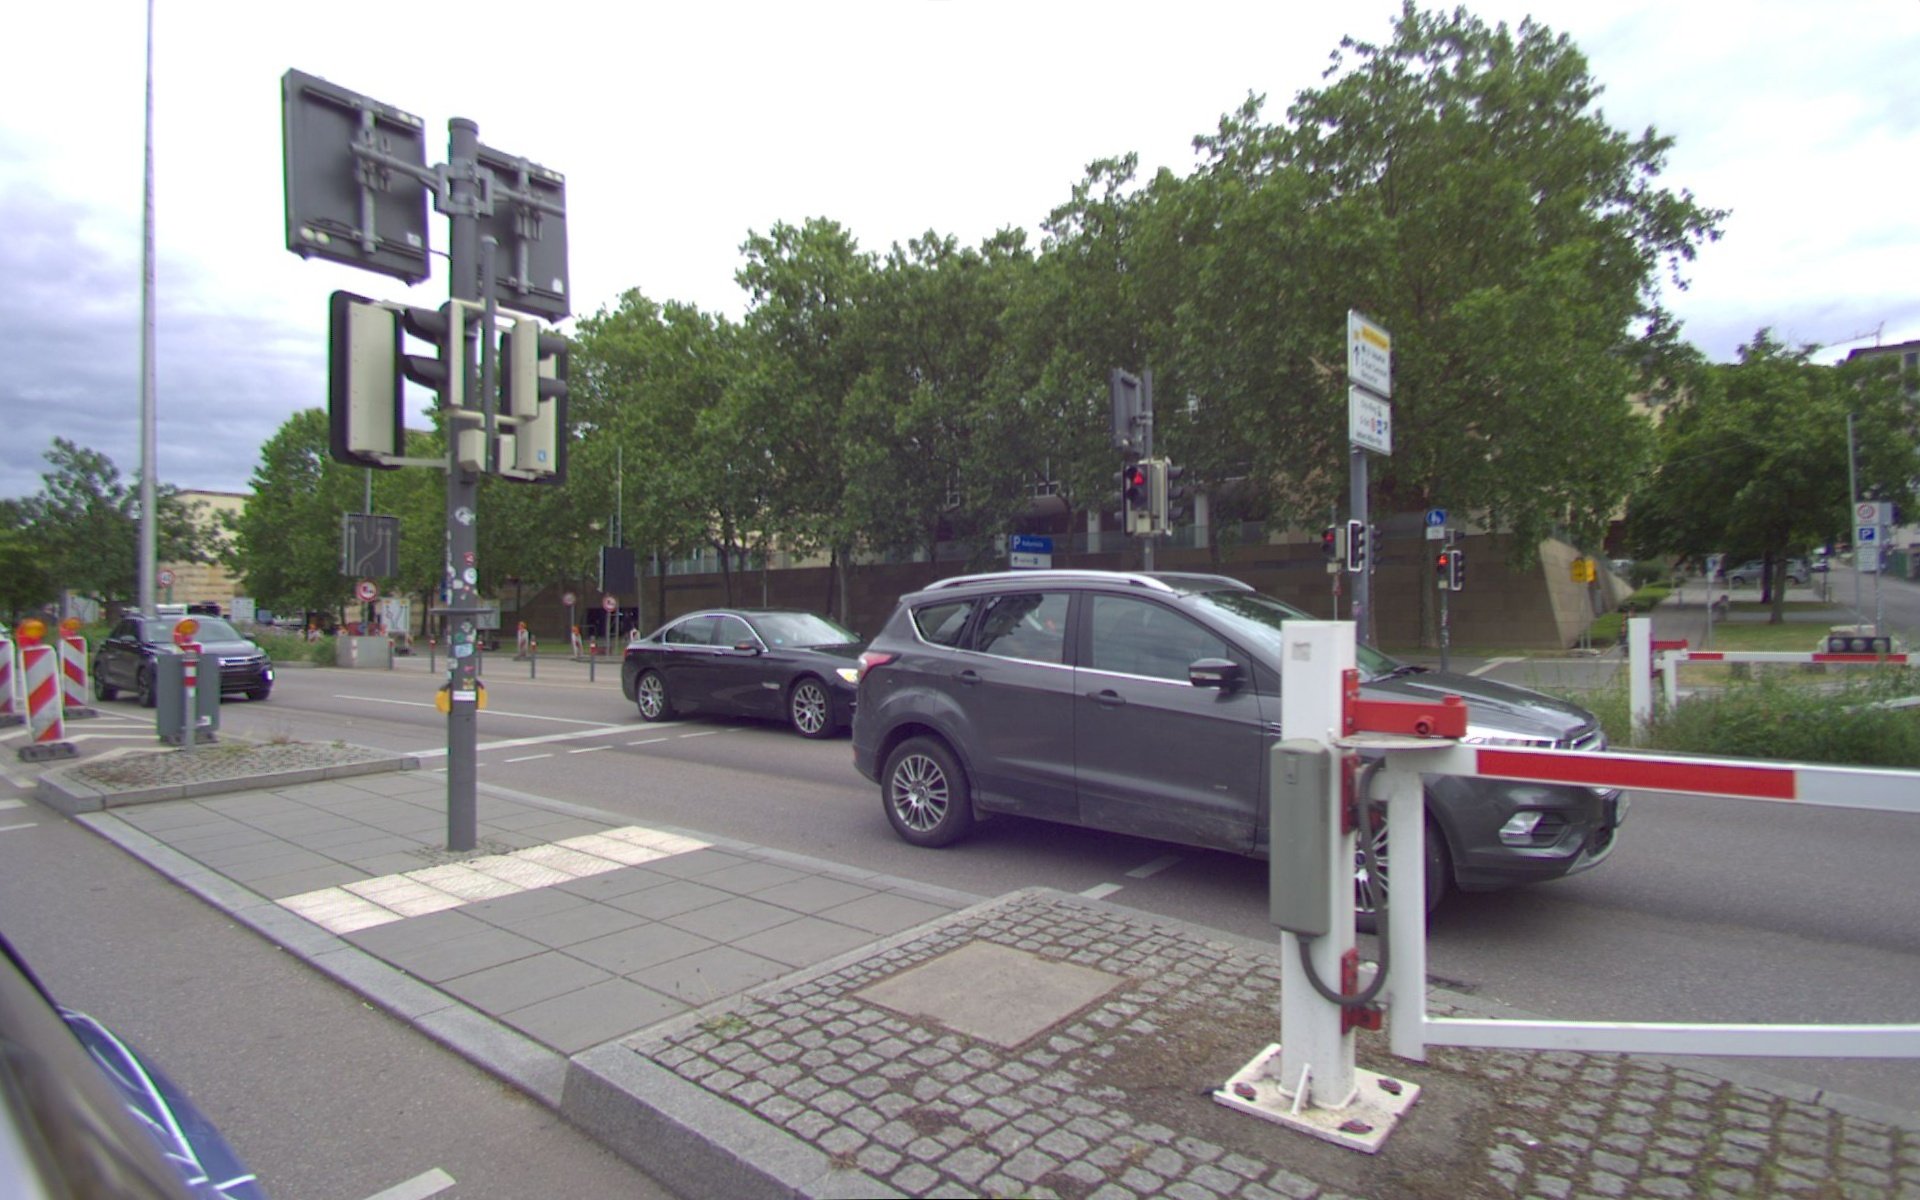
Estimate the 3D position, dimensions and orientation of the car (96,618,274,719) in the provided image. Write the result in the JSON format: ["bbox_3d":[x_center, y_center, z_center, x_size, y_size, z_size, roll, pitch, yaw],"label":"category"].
[{"bbox_3d":[-13.835,1.120,17.986,4.151,1.527,1.744,-1,0,41],"label":"car"}]

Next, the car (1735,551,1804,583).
[{"bbox_3d":[57.126,-2.322,71.437,3.681,2.029,1.567,-2,-2,41],"label":"car"}]

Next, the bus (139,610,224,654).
[{"bbox_3d":[-61.781,2.504,80.211,10.436,3.330,2.884,-1,-1,38],"label":"bus"}]

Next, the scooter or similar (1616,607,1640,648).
[{"bbox_3d":[22.509,0.925,34.089,0.537,1.351,1.400,-2,-2,39],"label":"scooter or similar"}]

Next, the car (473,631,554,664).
[{"bbox_3d":[-19.654,2.067,44.490,3.997,1.383,1.708,-2,-2,40],"label":"car"}]

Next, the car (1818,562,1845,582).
[{"bbox_3d":[98.387,-3.147,114.324,1.997,2.029,3.950,-1,-2,37],"label":"car"}]

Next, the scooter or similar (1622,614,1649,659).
[{"bbox_3d":[20.529,1.100,30.754,0.537,1.351,1.400,-2,-2,39],"label":"scooter or similar"}]

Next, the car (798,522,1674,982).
[{"bbox_3d":[1.311,0.617,6.020,4.653,1.728,1.875,-2,-1,40],"label":"car"}]

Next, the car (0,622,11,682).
[{"bbox_3d":[-28.434,1.446,28.443,4.733,1.629,1.974,-1,0,39],"label":"car"}]

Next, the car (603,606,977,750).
[{"bbox_3d":[-2.285,0.872,12.818,4.802,1.494,1.974,-2,-1,38],"label":"car"}]

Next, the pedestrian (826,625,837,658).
[{"bbox_3d":[-6.511,2.110,51.284,0.442,1.619,0.351,-1,1,33],"label":"pedestrian"}]
